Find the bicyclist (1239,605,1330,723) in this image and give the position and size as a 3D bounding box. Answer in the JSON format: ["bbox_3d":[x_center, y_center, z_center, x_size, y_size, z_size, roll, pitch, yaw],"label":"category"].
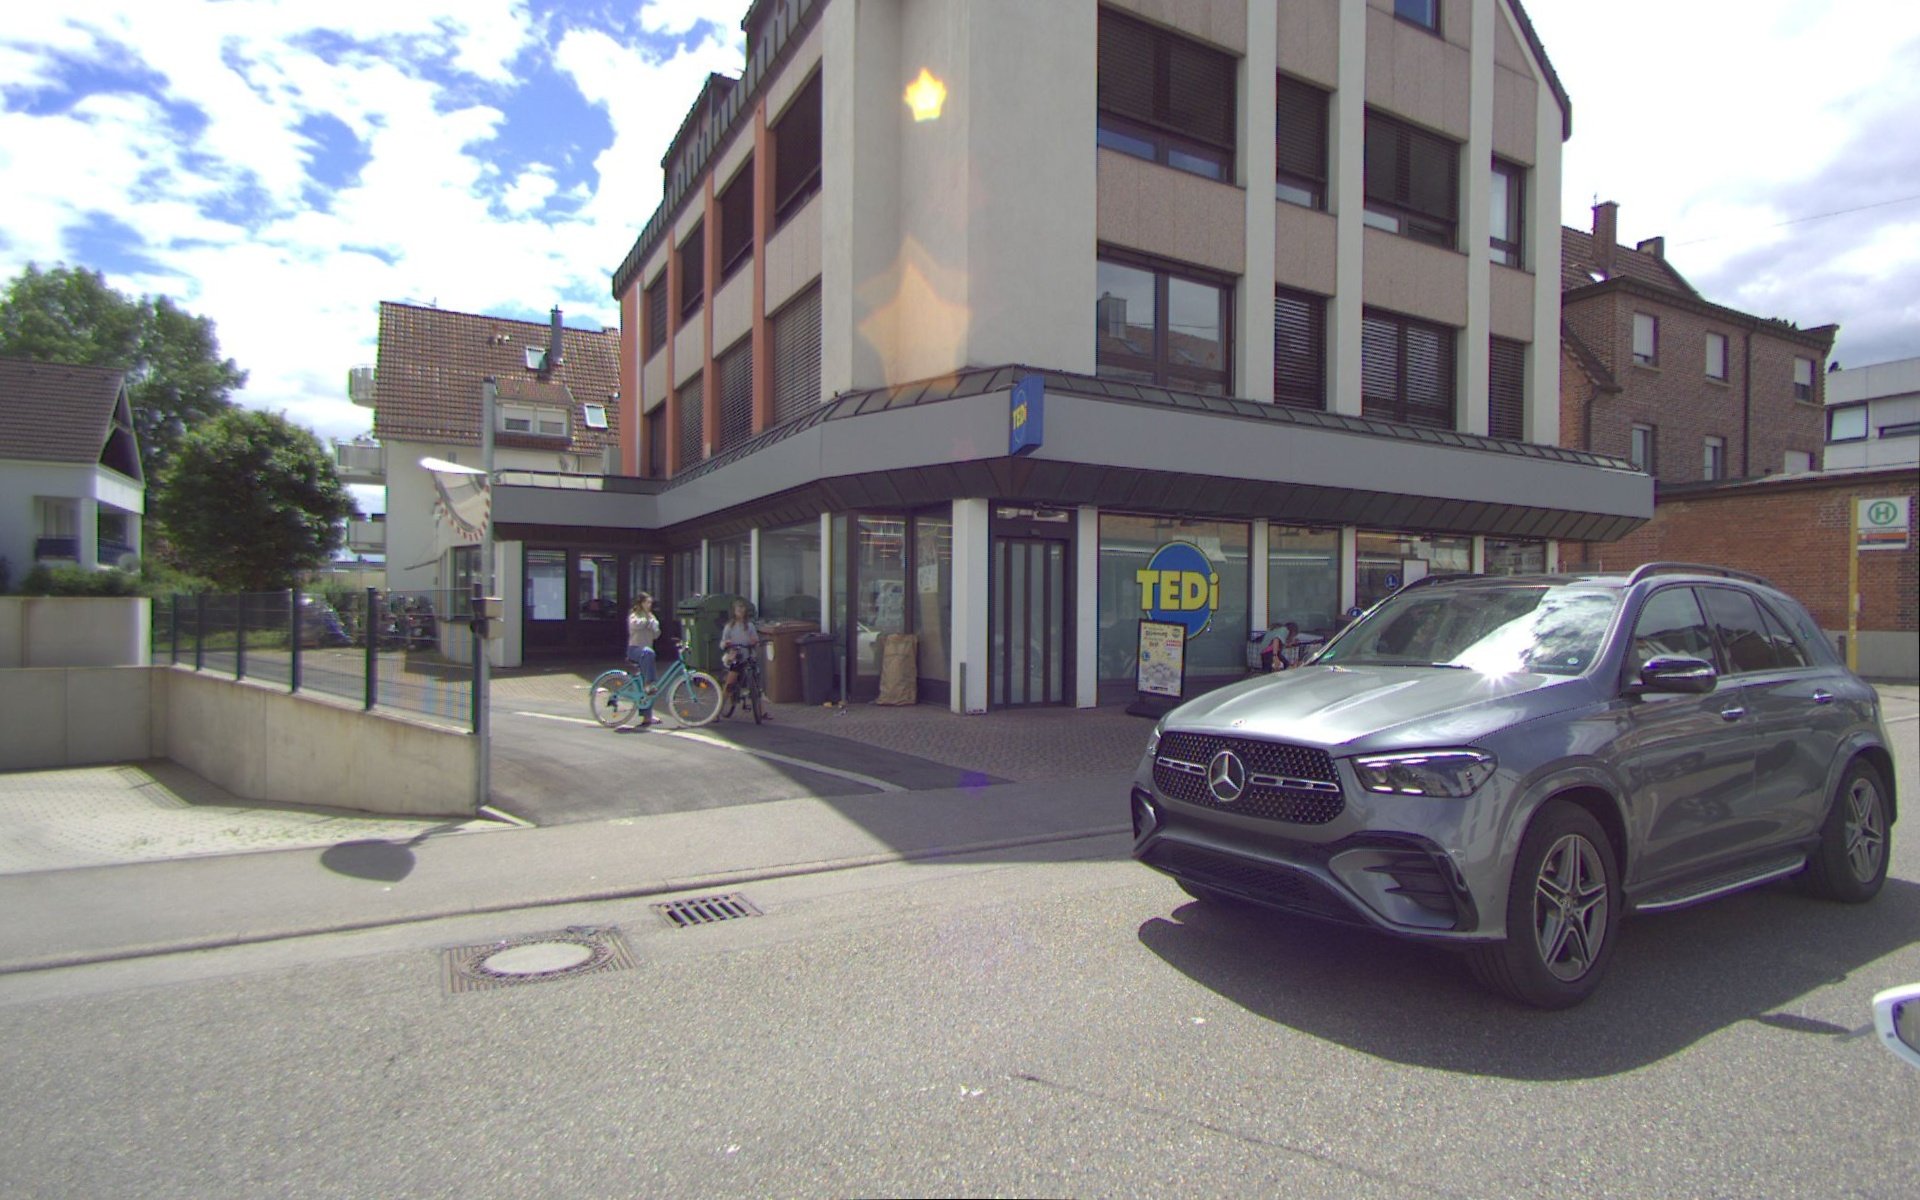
[{"bbox_3d":[3.982,0.762,12.340,0.753,1.355,0.664,0,4,-30],"label":"bicyclist"}]

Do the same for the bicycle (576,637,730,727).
[{"bbox_3d":[-3.348,0.880,10.994,1.557,0.929,0.459,0,1,6],"label":"bicycle"}]

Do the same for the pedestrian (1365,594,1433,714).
[{"bbox_3d":[6.009,0.721,13.771,0.757,1.579,0.574,2,0,20],"label":"pedestrian"}]

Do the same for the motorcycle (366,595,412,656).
[{"bbox_3d":[-15.427,0.655,27.196,0.849,1.539,3.595,1,-1,-26],"label":"motorcycle"}]

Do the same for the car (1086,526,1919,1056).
[{"bbox_3d":[3.045,0.671,5.340,4.545,1.742,1.931,1,-1,-32],"label":"car"}]

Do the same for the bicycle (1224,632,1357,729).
[{"bbox_3d":[4.044,0.956,12.255,1.714,1.064,0.441,1,6,-31],"label":"bicycle"}]

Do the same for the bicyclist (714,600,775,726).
[{"bbox_3d":[-2.471,0.699,11.490,0.581,1.384,0.422,-2,1,-25],"label":"bicyclist"}]

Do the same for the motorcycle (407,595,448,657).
[{"bbox_3d":[-14.208,0.671,26.865,0.849,1.539,3.777,1,-1,-26],"label":"motorcycle"}]

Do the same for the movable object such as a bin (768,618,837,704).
[{"bbox_3d":[-2.156,0.814,13.726,0.729,1.080,0.680,-2,2,-30],"label":"movable object such as a bin"}]

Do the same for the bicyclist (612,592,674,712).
[{"bbox_3d":[-3.462,0.552,10.994,0.418,1.258,0.642,2,0,3],"label":"bicyclist"}]

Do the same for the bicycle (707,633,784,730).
[{"bbox_3d":[-2.499,0.898,11.572,0.547,0.967,1.681,0,1,-24],"label":"bicycle"}]

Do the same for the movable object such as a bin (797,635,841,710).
[{"bbox_3d":[-1.847,0.935,13.135,0.438,0.923,0.405,-2,2,-30],"label":"movable object such as a bin"}]
